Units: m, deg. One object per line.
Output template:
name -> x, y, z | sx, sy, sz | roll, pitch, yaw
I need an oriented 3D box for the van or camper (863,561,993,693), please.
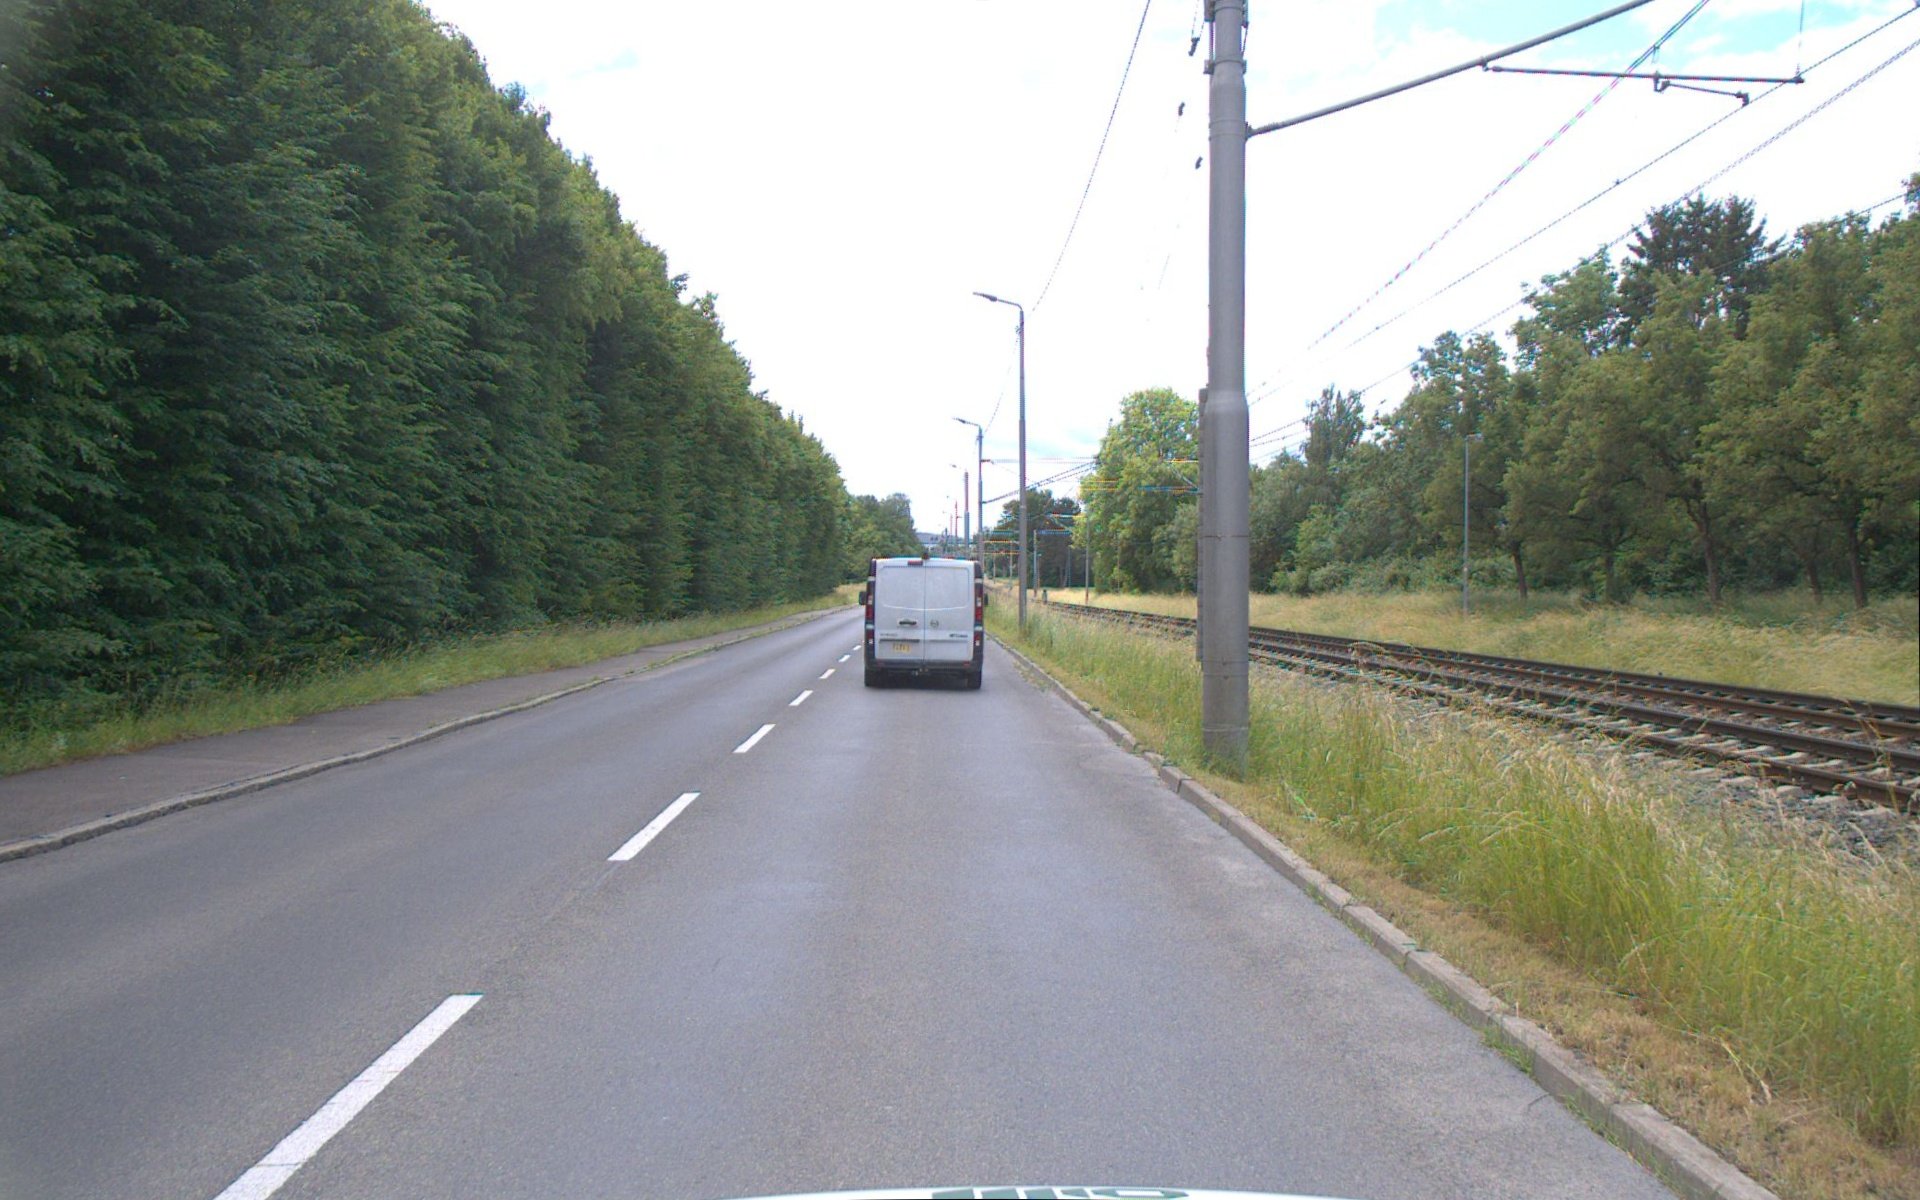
van or camper -> -0.594, 0.378, 26.358 | 1.903, 1.930, 4.282 | 0, 0, -3
